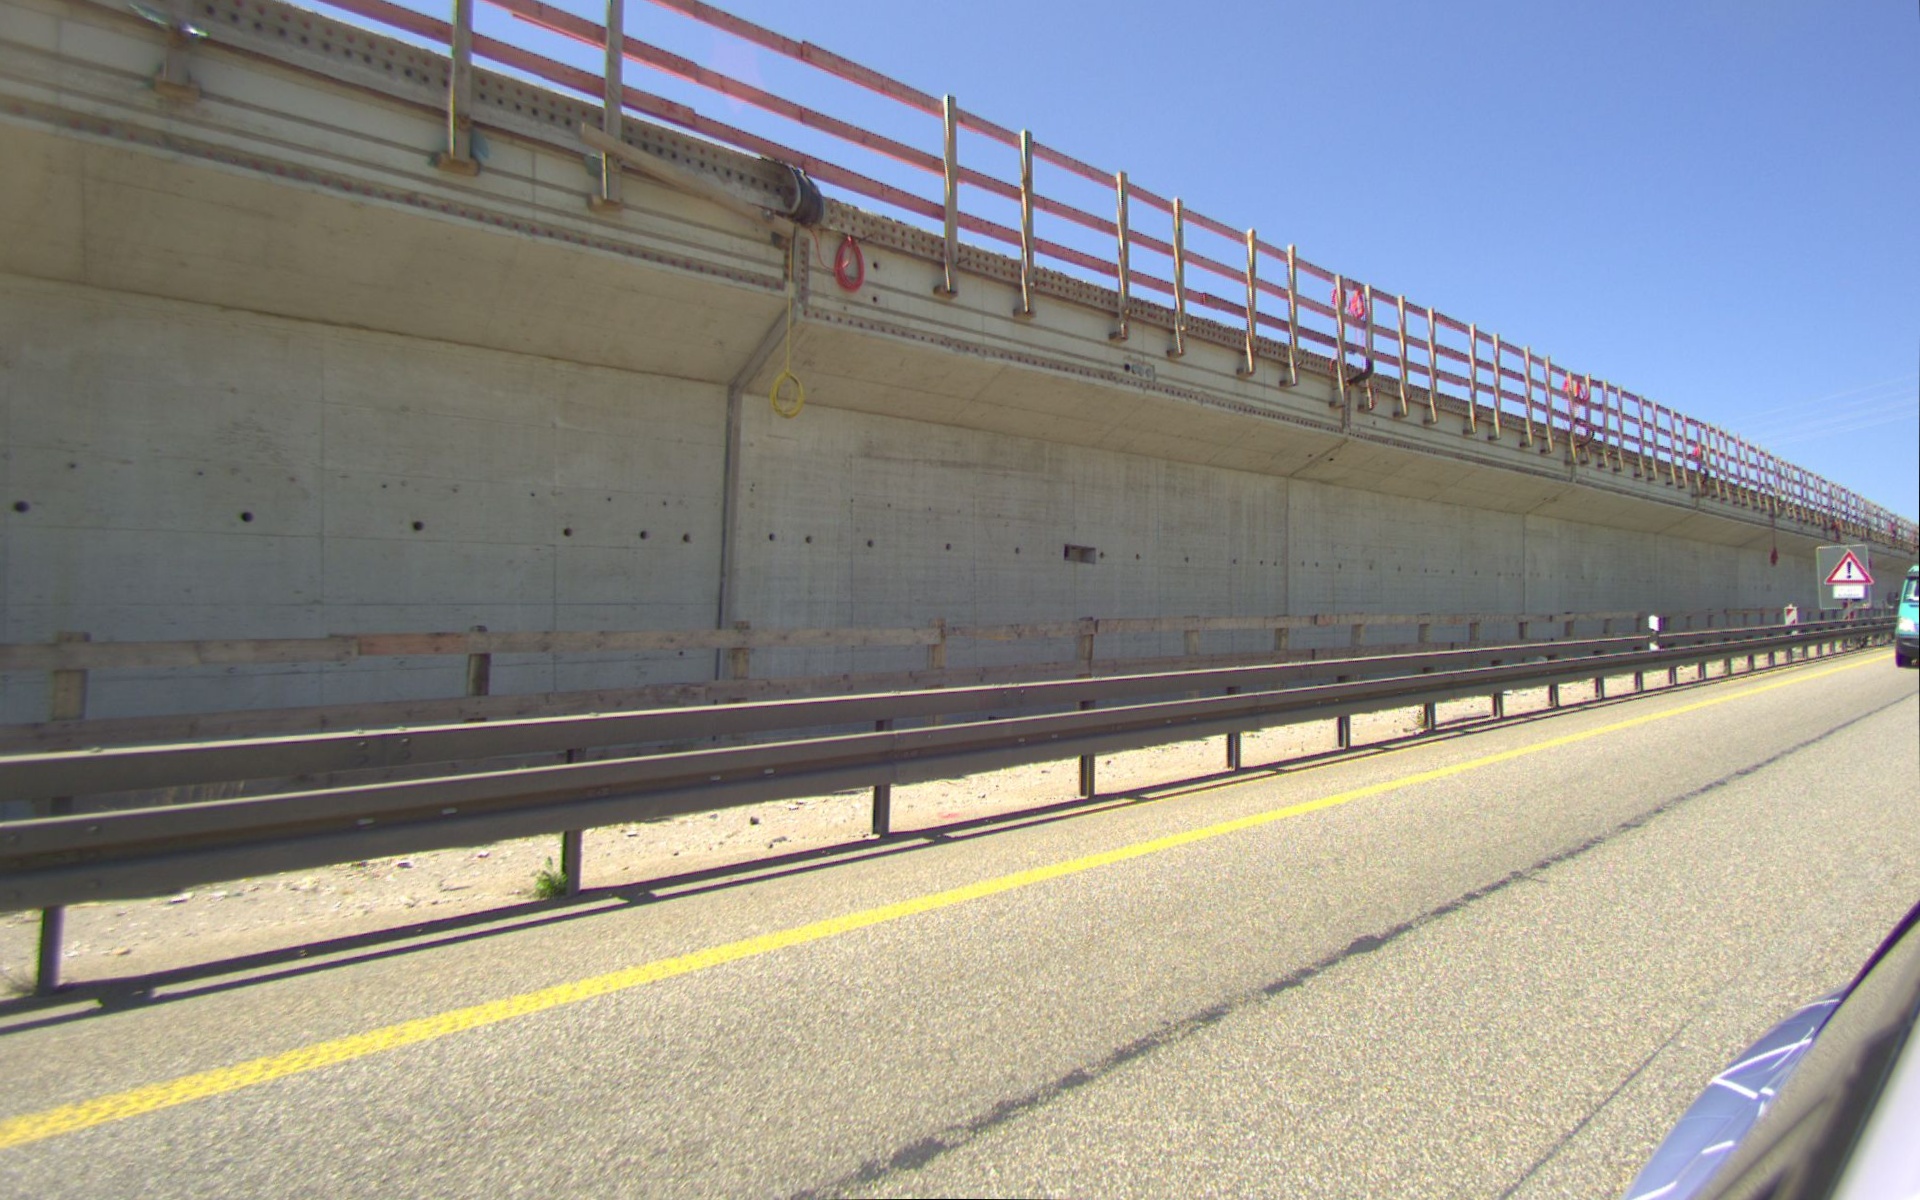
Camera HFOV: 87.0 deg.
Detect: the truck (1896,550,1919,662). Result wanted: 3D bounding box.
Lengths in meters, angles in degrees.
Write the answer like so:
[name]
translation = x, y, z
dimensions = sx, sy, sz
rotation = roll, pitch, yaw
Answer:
[truck]
translation = 23.659, 0.072, 23.351
dimensions = 7.302, 2.387, 2.138
rotation = -1, 0, -40
